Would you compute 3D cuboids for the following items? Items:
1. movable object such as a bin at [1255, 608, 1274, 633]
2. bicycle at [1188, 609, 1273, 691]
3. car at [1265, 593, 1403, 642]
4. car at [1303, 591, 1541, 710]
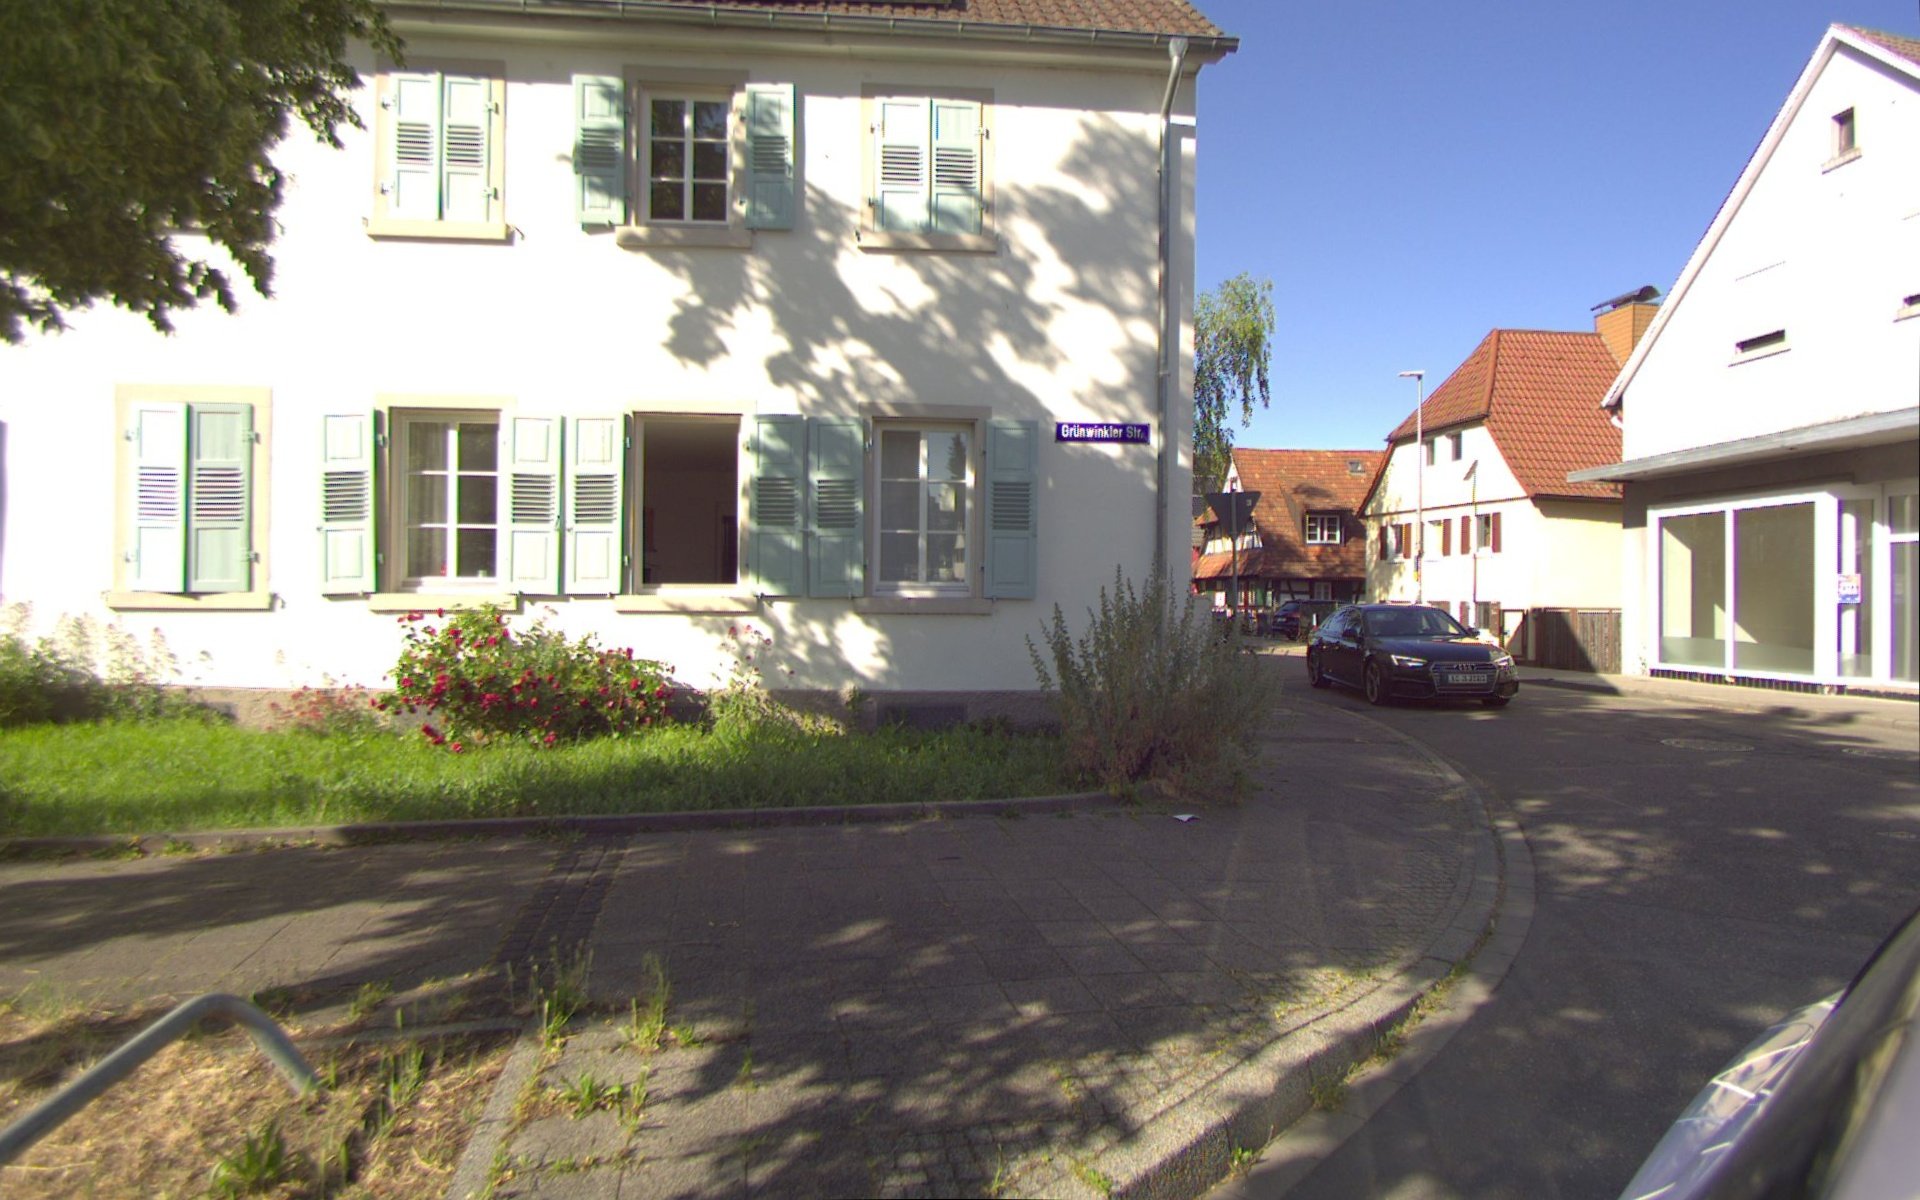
[{"bbox_3d":[11.437,0.777,38.001,0.577,0.909,0.553,3,0,13],"label":"movable object such as a bin"},{"bbox_3d":[3.982,0.710,15.045,0.427,1.093,1.893,2,0,-10],"label":"bicycle"},{"bbox_3d":[13.001,0.597,35.258,4.085,1.480,1.852,3,-1,-12],"label":"car"},{"bbox_3d":[6.631,0.639,15.095,1.776,1.496,4.339,1,0,4],"label":"car"}]
